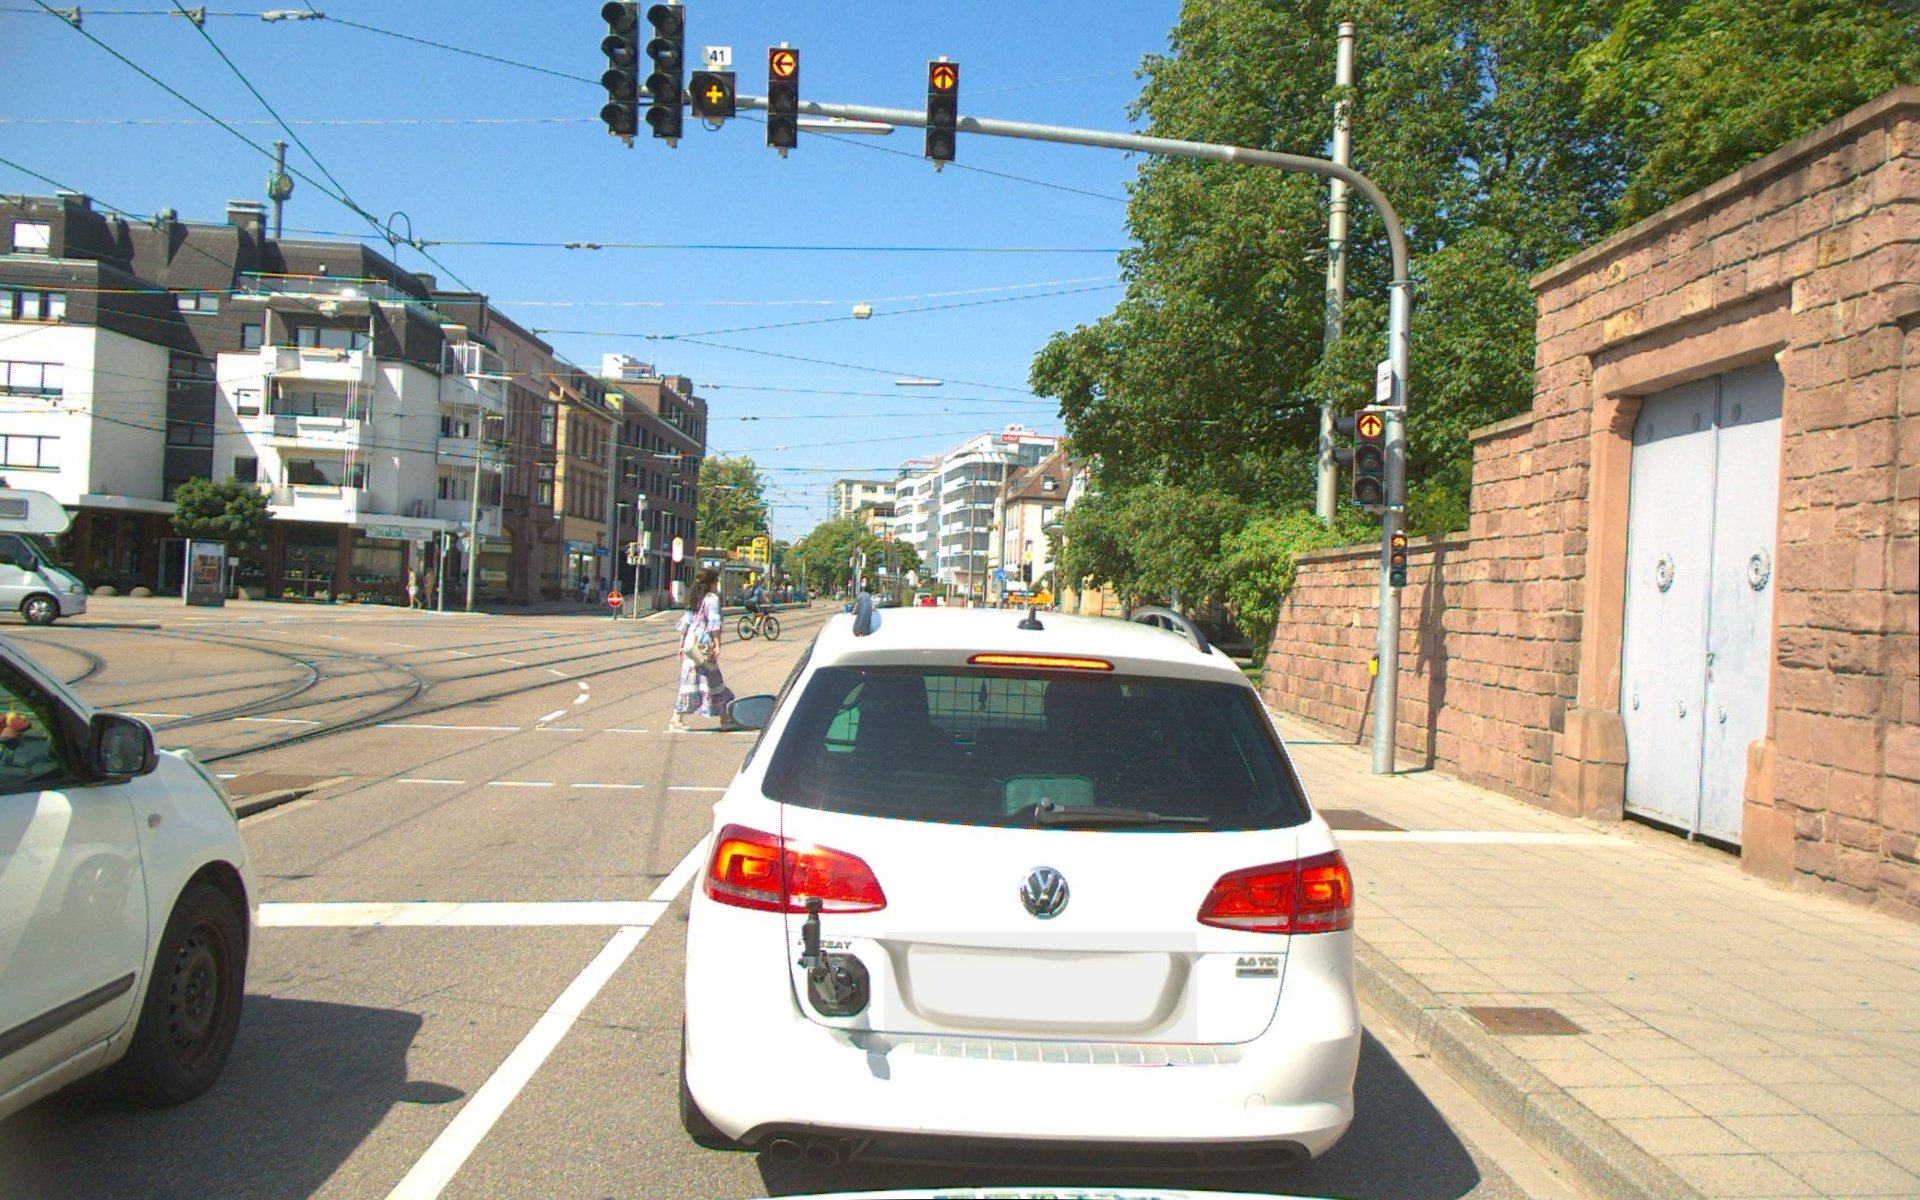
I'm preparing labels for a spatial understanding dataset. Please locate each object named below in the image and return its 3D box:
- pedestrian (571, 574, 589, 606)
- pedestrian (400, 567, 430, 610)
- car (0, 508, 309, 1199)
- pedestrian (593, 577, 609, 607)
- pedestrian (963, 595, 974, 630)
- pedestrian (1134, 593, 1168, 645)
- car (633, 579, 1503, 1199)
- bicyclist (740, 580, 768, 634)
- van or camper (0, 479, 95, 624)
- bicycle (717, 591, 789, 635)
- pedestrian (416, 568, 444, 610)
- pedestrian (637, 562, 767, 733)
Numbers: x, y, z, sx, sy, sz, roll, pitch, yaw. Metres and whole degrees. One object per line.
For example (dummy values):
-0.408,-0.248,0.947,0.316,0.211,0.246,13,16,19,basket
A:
-21.515,-0.581,93.688,0.845,1.773,0.973,1,-1,-6,pedestrian
-22.965,-0.465,69.685,0.963,1.773,0.854,1,-1,-34,pedestrian
-2.838,0.596,3.315,1.608,1.593,3.803,1,1,-1,car
-21.736,-0.492,100.097,0.845,1.773,0.973,1,-1,-6,pedestrian
0.579,0.847,111.658,0.675,2.366,1.232,0,-1,0,pedestrian
6.589,0.647,57.106,0.952,1.773,0.864,0,-1,25,pedestrian
0.192,0.715,5.434,1.771,1.473,3.999,2,0,-1,car
-6.210,0.215,49.839,0.633,1.641,0.554,1,-1,-42,bicyclist
-22.254,-1.058,36.426,5.621,3.147,2.551,1,-1,-29,van or camper
-6.227,0.400,49.818,2.229,1.320,0.551,1,-1,-42,bicycle
-22.917,-0.468,71.472,0.963,1.773,0.855,1,-1,-33,pedestrian
-2.649,0.475,16.953,0.966,1.680,0.942,1,-1,-40,pedestrian
